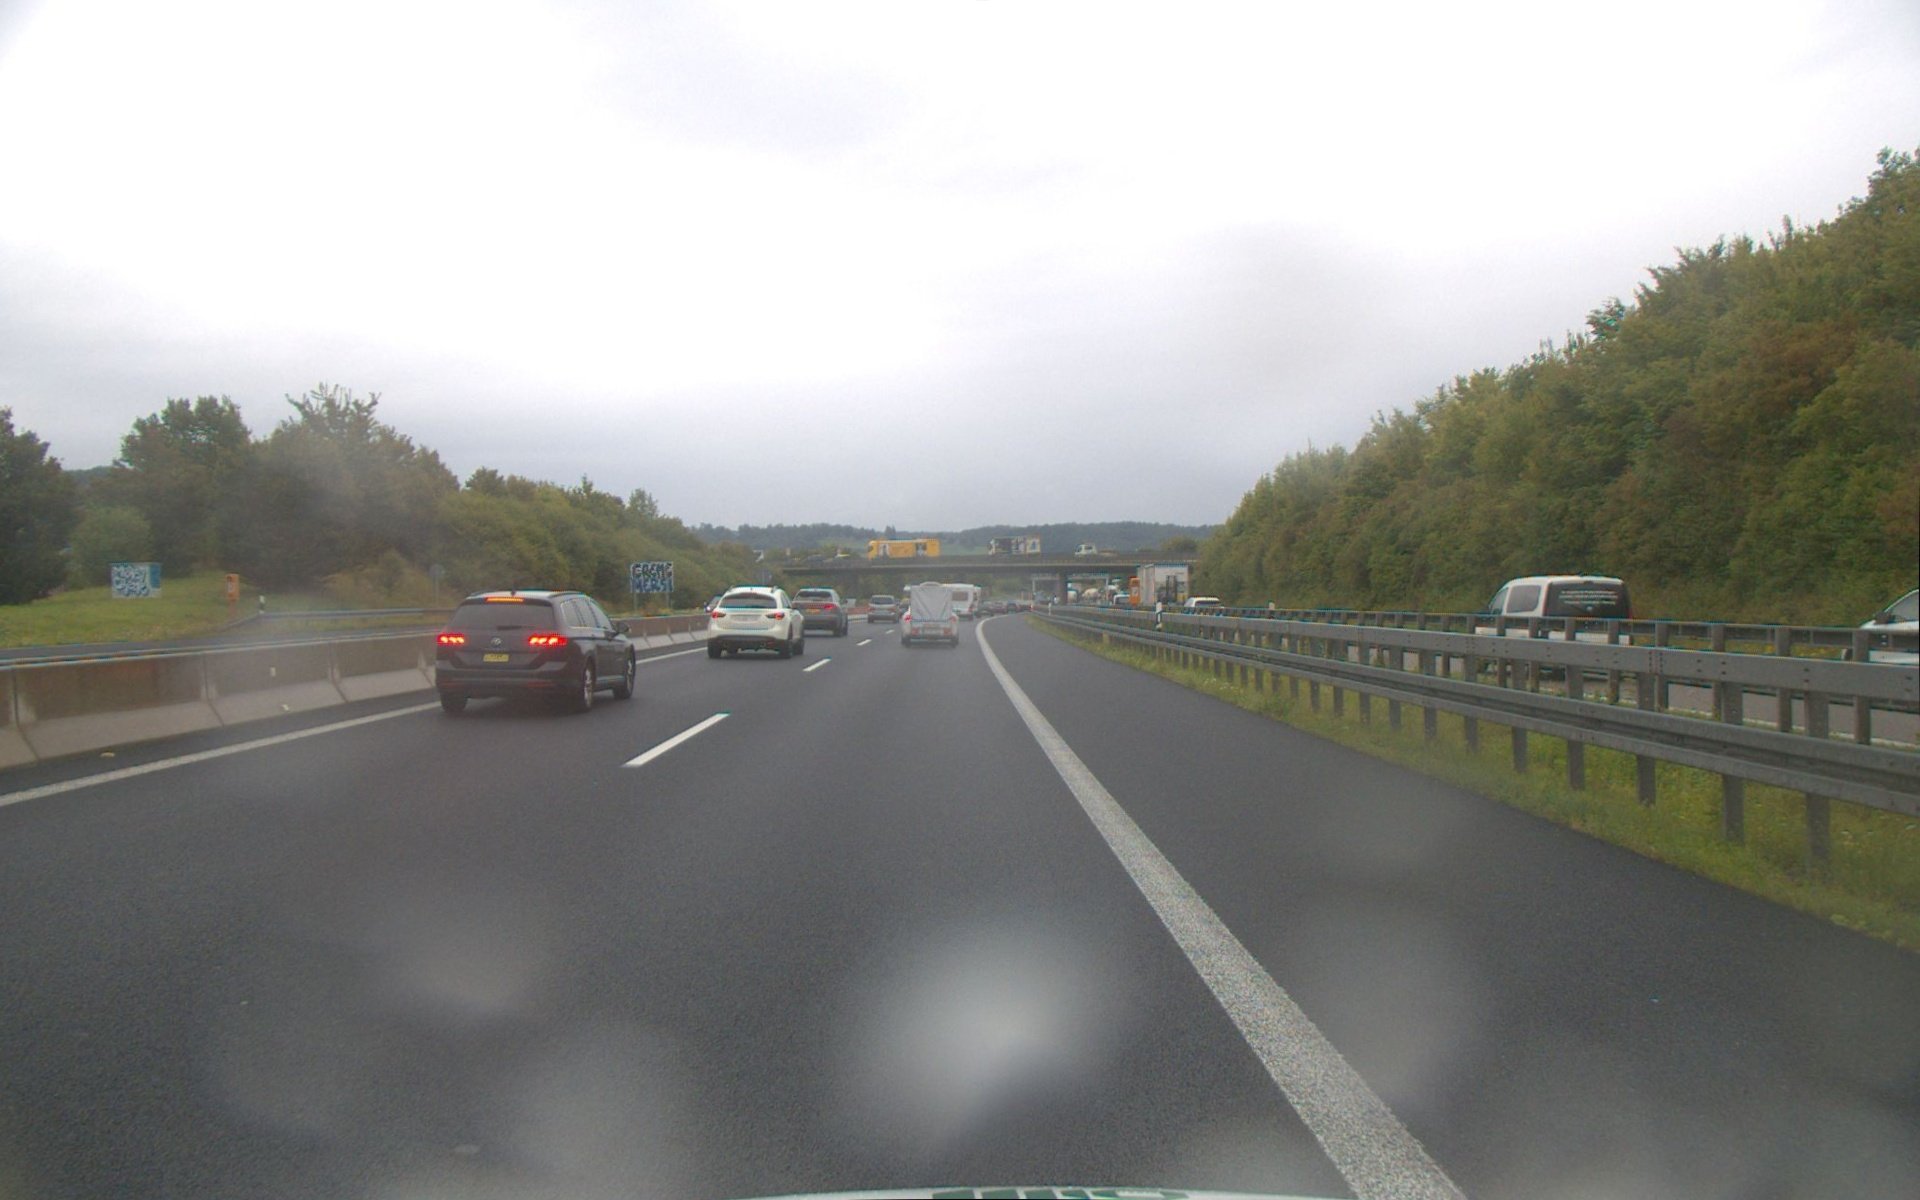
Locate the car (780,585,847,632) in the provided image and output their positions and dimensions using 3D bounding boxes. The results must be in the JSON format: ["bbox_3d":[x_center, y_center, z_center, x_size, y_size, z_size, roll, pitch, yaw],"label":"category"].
[{"bbox_3d":[-5.333,0.284,60.726,2.130,1.660,4.500,0,0,-1],"label":"car"}]

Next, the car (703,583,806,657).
[{"bbox_3d":[-4.876,0.444,39.740,1.936,1.668,4.500,0,0,0],"label":"car"}]

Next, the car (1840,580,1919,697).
[{"bbox_3d":[14.451,0.542,23.327,1.858,1.641,4.145,0,0,-1],"label":"car"}]

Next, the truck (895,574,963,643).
[{"bbox_3d":[-0.943,0.208,51.787,1.978,2.020,7.212,0,1,-1],"label":"truck"}]

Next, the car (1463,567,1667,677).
[{"bbox_3d":[10.829,0.363,29.969,1.968,1.846,4.274,0,0,-3],"label":"car"}]

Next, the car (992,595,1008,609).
[{"bbox_3d":[5.111,0.244,212.712,1.953,1.780,4.000,1,0,0],"label":"car"}]

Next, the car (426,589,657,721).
[{"bbox_3d":[-5.270,0.639,21.530,1.862,1.523,4.850,0,0,-1],"label":"car"}]

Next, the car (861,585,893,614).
[{"bbox_3d":[-4.897,-0.055,97.864,1.862,1.641,4.015,0,0,-2],"label":"car"}]

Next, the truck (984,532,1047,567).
[{"bbox_3d":[8.150,-7.381,243.566,3.740,4.920,9.906,0,0,-38],"label":"truck"}]

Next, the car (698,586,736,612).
[{"bbox_3d":[-16.656,-0.078,113.583,1.942,1.642,4.421,2,0,-1],"label":"car"}]

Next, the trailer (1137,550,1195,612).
[{"bbox_3d":[15.210,-1.400,122.792,3.366,4.364,10.457,0,0,2],"label":"trailer"}]

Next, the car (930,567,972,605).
[{"bbox_3d":[-0.612,-1.014,120.498,2.954,2.662,6.075,0,1,1],"label":"car"}]

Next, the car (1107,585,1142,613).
[{"bbox_3d":[11.183,-0.064,112.710,1.822,1.836,4.646,0,0,-2],"label":"car"}]

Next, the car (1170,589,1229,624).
[{"bbox_3d":[10.909,0.269,75.497,1.967,1.575,4.695,0,0,-1],"label":"car"}]

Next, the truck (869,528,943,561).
[{"bbox_3d":[-8.798,-8.802,266.529,3.740,4.920,15.035,0,0,-38],"label":"truck"}]

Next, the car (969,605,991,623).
[{"bbox_3d":[2.031,1.410,167.896,1.954,1.780,3.997,1,0,-4],"label":"car"}]

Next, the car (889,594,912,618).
[{"bbox_3d":[-4.741,0.475,131.571,1.805,1.851,3.998,0,0,-2],"label":"car"}]

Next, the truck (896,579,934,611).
[{"bbox_3d":[-5.262,-0.628,194.949,3.688,3.616,13.190,0,0,2],"label":"truck"}]

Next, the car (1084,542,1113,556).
[{"bbox_3d":[19.046,-7.023,227.953,1.825,1.948,3.944,1,0,-39],"label":"car"}]
